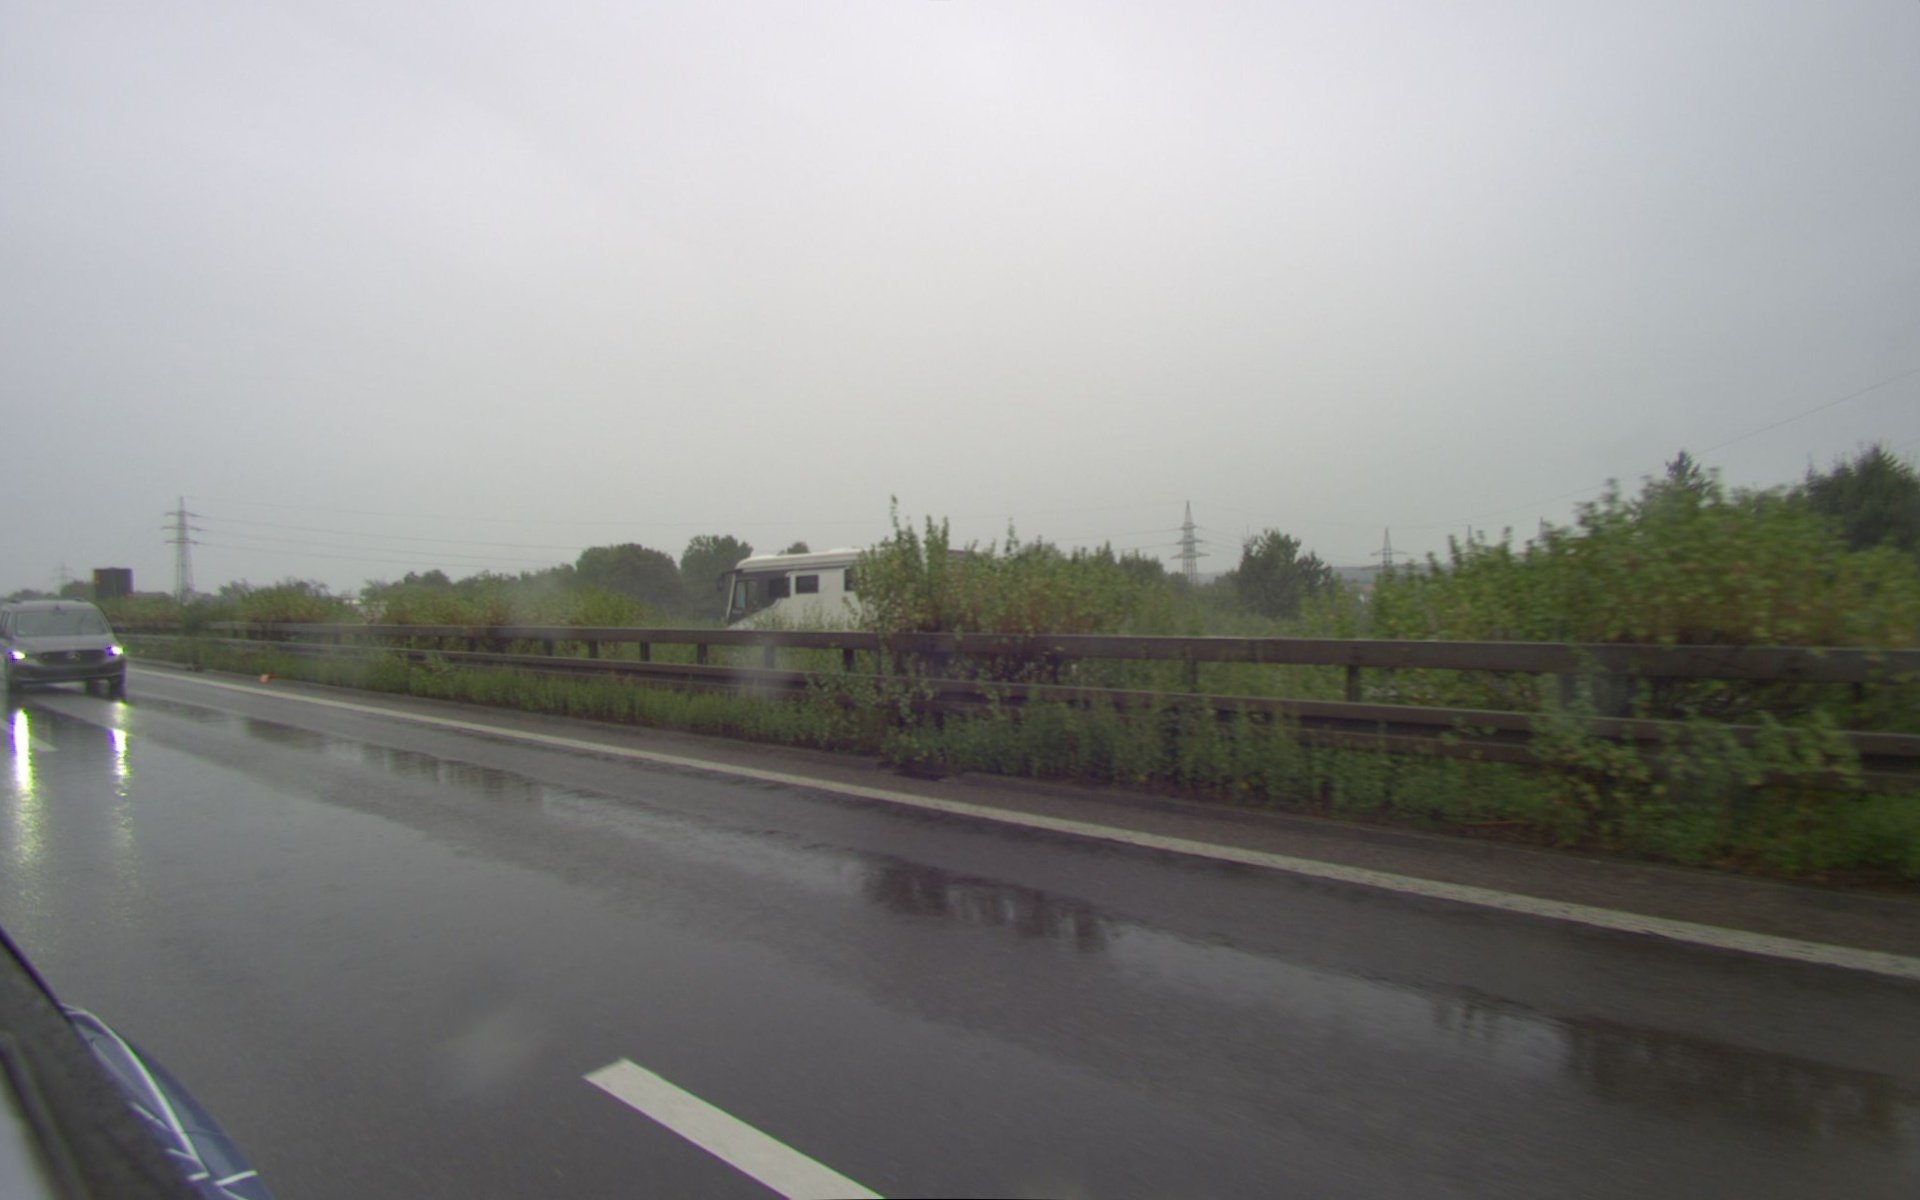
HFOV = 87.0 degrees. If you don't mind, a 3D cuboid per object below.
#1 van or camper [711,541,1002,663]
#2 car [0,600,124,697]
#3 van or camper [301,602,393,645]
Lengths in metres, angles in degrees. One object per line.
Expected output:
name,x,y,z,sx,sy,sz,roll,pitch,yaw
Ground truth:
van or camper,-3.365,0.146,30.058,9.509,3.109,2.857,-2,-1,41
car,-18.843,0.925,20.829,4.501,1.787,2.019,-1,-1,44
van or camper,-36.929,1.414,60.848,7.334,2.292,2.578,-2,2,41
